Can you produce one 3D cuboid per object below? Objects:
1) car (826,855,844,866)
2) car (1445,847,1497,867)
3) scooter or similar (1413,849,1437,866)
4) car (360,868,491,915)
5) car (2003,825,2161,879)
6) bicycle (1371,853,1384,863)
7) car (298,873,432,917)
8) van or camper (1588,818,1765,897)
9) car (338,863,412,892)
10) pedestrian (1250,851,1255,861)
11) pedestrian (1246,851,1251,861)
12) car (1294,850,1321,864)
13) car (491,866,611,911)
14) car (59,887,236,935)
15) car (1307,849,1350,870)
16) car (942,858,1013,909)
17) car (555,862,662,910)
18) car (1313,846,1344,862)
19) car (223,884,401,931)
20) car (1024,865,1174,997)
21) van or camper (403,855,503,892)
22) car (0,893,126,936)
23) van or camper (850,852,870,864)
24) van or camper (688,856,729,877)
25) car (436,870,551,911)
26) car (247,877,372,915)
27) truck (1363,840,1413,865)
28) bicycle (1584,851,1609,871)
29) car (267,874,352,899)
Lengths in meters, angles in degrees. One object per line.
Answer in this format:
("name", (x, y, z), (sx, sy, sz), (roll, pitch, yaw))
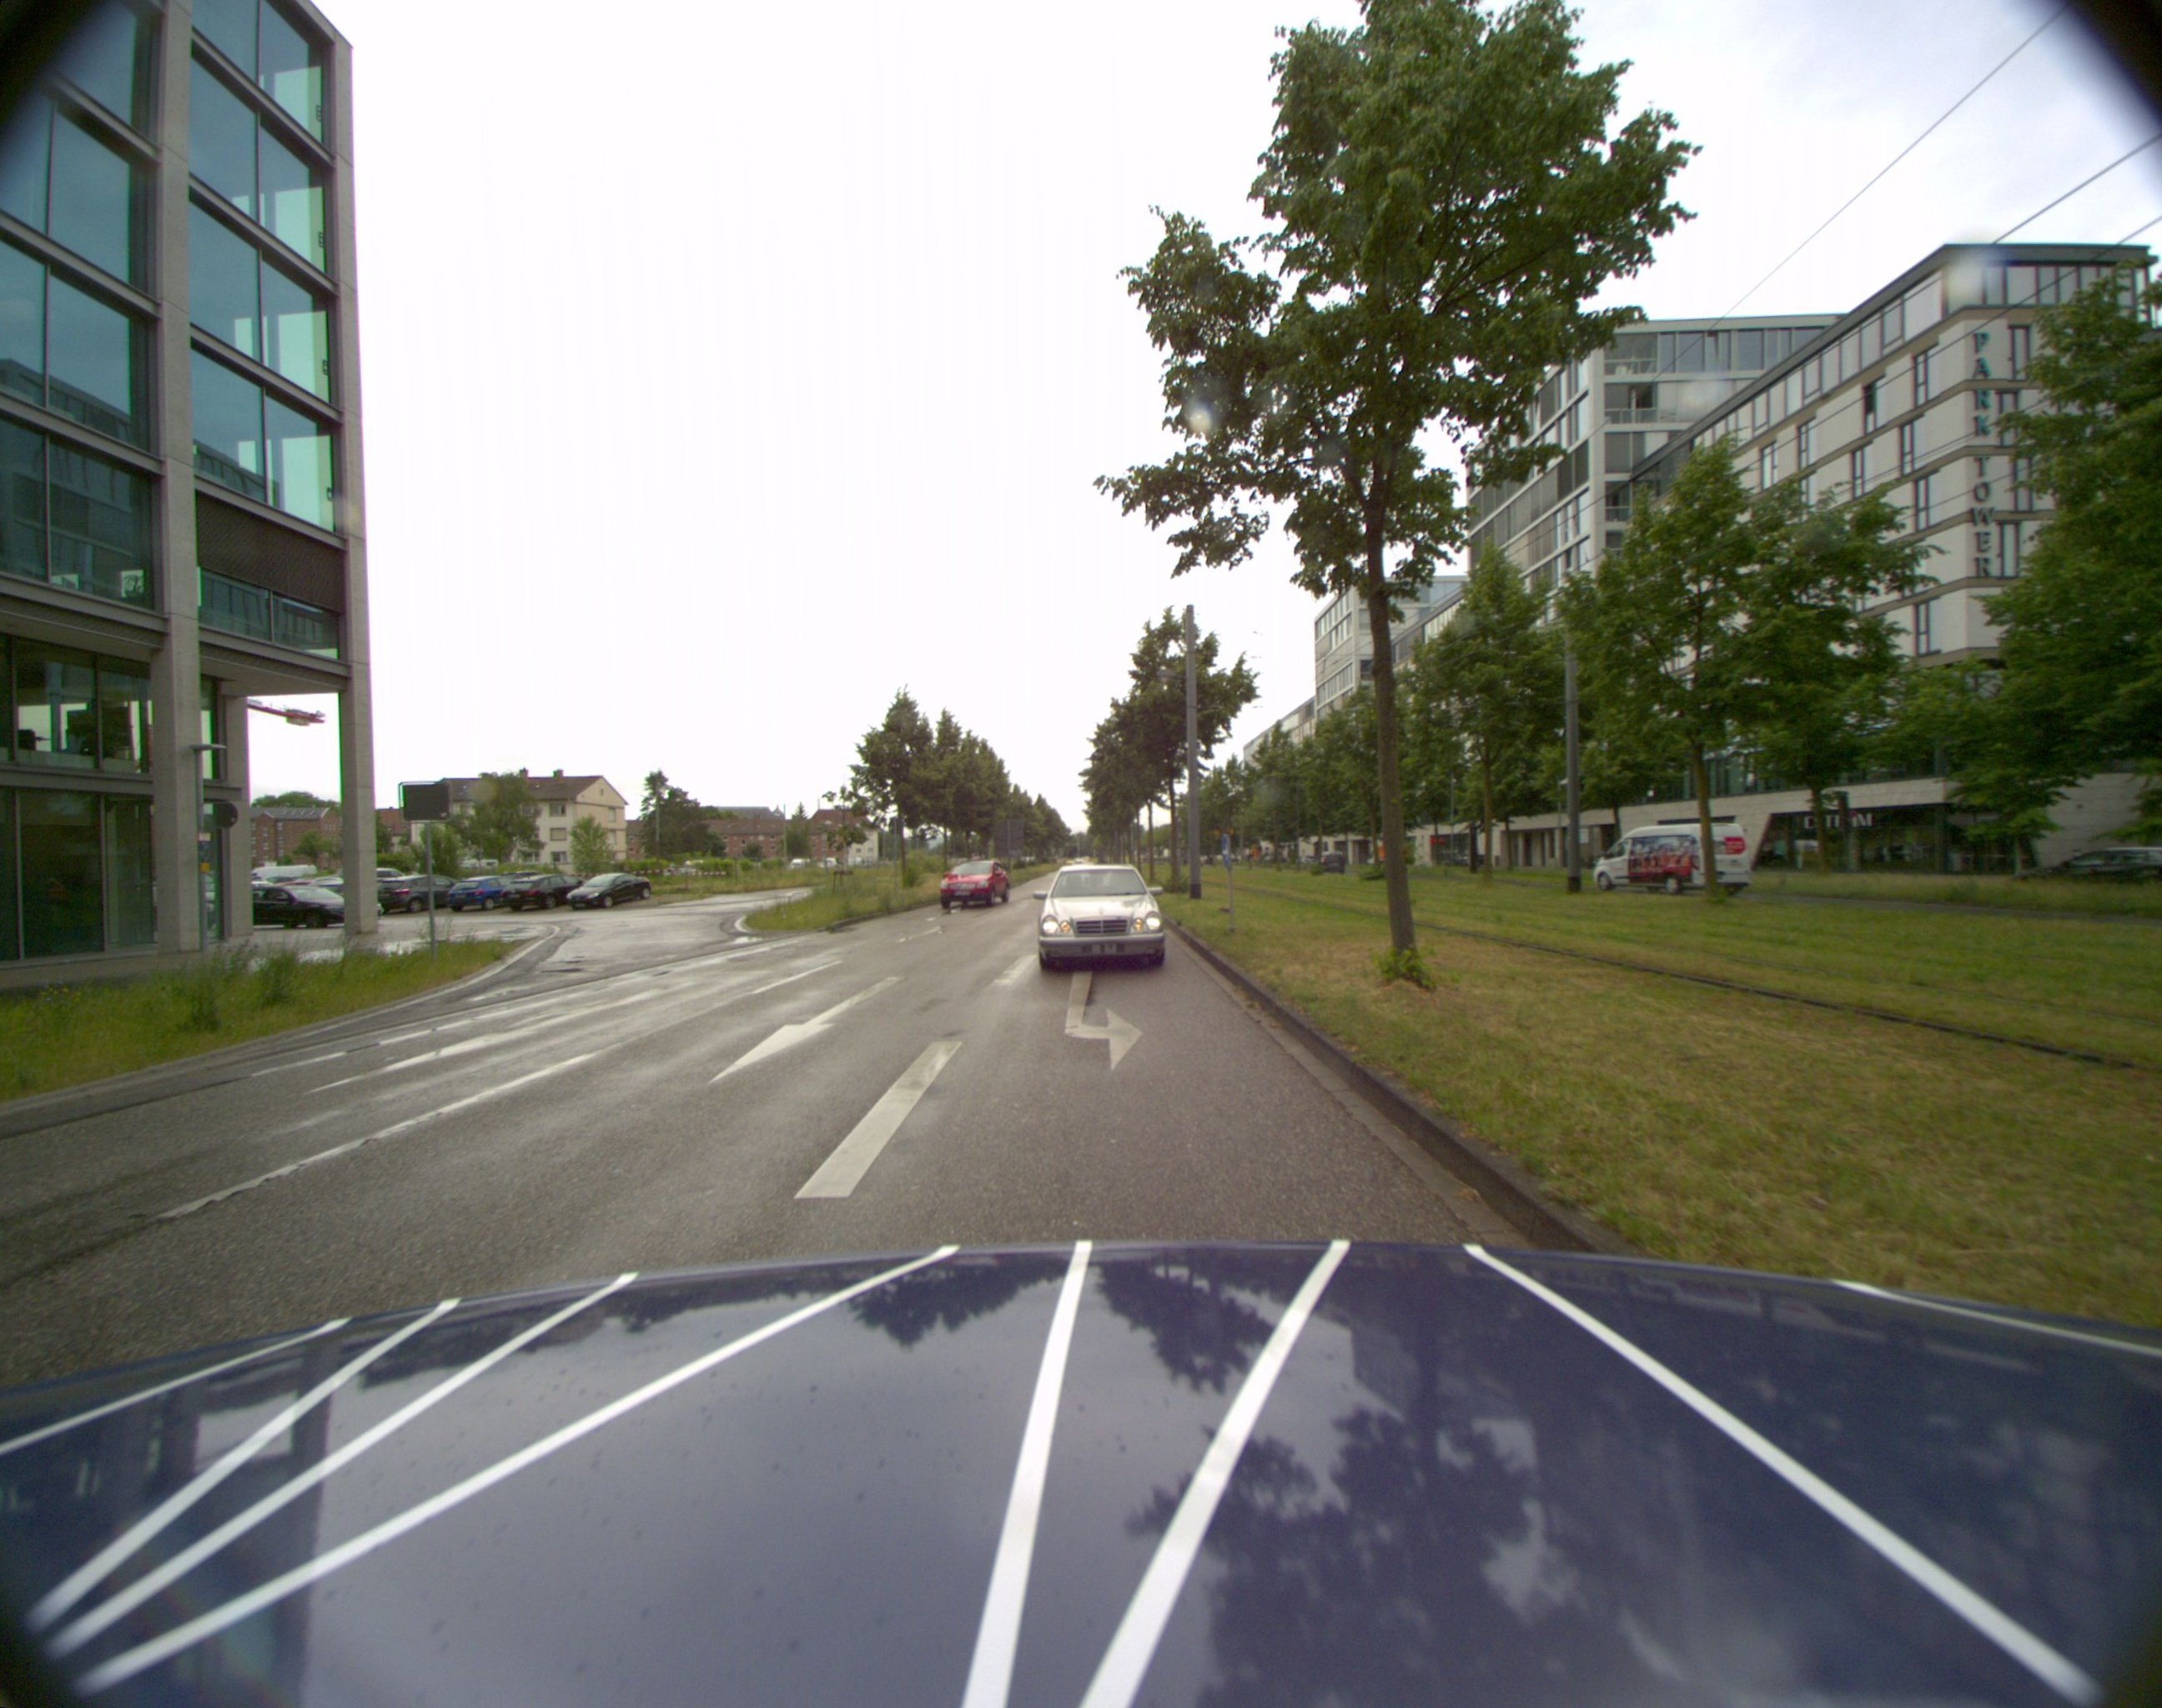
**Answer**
("car", (-51.842, 1.435, 160.100), (2.278, 2.207, 4.758), (-2, 0, -3))
("car", (29.318, 0.203, 57.236), (1.859, 1.456, 3.988), (-1, 0, 0))
("scooter or similar", (36.856, 0.364, 81.508), (2.130, 1.814, 0.885), (-2, 1, -3))
("car", (-30.205, 1.679, 35.223), (1.859, 1.593, 4.414), (-2, 4, 6))
("car", (28.933, -0.078, 21.021), (1.998, 1.370, 4.000), (-2, 0, 1))
("bicycle", (27.872, 0.371, 71.413), (0.600, 0.939, 1.757), (-1, 0, 4))
("car", (-32.867, 1.848, 35.065), (1.789, 1.467, 4.229), (-2, 4, 6))
("van or camper", (20.181, 0.106, 26.155), (1.914, 2.396, 5.402), (-1, 0, 1))
("car", (-54.238, 1.775, 58.489), (1.700, 1.994, 4.165), (-1, 0, 2))
("pedestrian", (31.162, 0.364, 138.292), (0.712, 1.681, 0.793), (-2, 0, 3))
("pedestrian", (30.377, 0.348, 138.137), (0.712, 1.681, 0.793), (-2, 0, 3))
("car", (29.909, 0.403, 100.422), (2.150, 1.702, 4.463), (-2, 0, 0))
("car", (-24.007, 1.493, 34.663), (1.859, 1.447, 4.555), (-2, 5, 6))
("car", (-31.790, 1.907, 25.952), (3.995, 1.479, 1.862), (-2, -2, 4))
("car", (18.817, 0.380, 57.909), (1.867, 1.515, 4.479), (-1, 0, 1))
("car", (-3.625, 1.003, 27.315), (1.799, 1.603, 4.246), (-2, 0, 2))
("car", (-21.211, 1.386, 34.330), (1.858, 1.573, 3.999), (-2, 5, 8))
("car", (29.916, -0.054, 91.923), (1.998, 1.841, 5.164), (-1, 0, 0))
("car", (-25.772, 1.770, 25.550), (4.227, 1.429, 1.982), (-2, -2, 6))
("car", (0.220, 0.948, 11.345), (1.738, 1.451, 4.607), (-2, 0, 0))
("van or camper", (-54.400, 1.635, 66.134), (2.914, 2.976, 6.777), (-2, 0, 1))
("car", (-36.308, 2.099, 26.485), (3.995, 1.364, 1.862), (-2, -1, 6))
("van or camper", (-45.268, 0.858, 155.767), (2.208, 2.294, 6.147), (-3, 0, -2))
("van or camper", (-49.780, 1.608, 101.714), (2.314, 2.673, 6.395), (-1, 0, -2))
("car", (-26.975, 1.641, 35.093), (1.859, 1.447, 4.000), (-2, 3, 6))
("car", (-37.787, 2.040, 37.369), (1.859, 1.592, 4.002), (-2, 0, 6))
("truck", (30.253, -0.126, 75.118), (2.432, 2.278, 6.309), (-2, 0, 1))
("bicycle", (38.774, 0.500, 57.164), (1.435, 1.474, 0.546), (-2, 1, 0))
("car", (-54.109, 2.258, 53.397), (1.700, 1.572, 4.032), (-1, 0, 1))
